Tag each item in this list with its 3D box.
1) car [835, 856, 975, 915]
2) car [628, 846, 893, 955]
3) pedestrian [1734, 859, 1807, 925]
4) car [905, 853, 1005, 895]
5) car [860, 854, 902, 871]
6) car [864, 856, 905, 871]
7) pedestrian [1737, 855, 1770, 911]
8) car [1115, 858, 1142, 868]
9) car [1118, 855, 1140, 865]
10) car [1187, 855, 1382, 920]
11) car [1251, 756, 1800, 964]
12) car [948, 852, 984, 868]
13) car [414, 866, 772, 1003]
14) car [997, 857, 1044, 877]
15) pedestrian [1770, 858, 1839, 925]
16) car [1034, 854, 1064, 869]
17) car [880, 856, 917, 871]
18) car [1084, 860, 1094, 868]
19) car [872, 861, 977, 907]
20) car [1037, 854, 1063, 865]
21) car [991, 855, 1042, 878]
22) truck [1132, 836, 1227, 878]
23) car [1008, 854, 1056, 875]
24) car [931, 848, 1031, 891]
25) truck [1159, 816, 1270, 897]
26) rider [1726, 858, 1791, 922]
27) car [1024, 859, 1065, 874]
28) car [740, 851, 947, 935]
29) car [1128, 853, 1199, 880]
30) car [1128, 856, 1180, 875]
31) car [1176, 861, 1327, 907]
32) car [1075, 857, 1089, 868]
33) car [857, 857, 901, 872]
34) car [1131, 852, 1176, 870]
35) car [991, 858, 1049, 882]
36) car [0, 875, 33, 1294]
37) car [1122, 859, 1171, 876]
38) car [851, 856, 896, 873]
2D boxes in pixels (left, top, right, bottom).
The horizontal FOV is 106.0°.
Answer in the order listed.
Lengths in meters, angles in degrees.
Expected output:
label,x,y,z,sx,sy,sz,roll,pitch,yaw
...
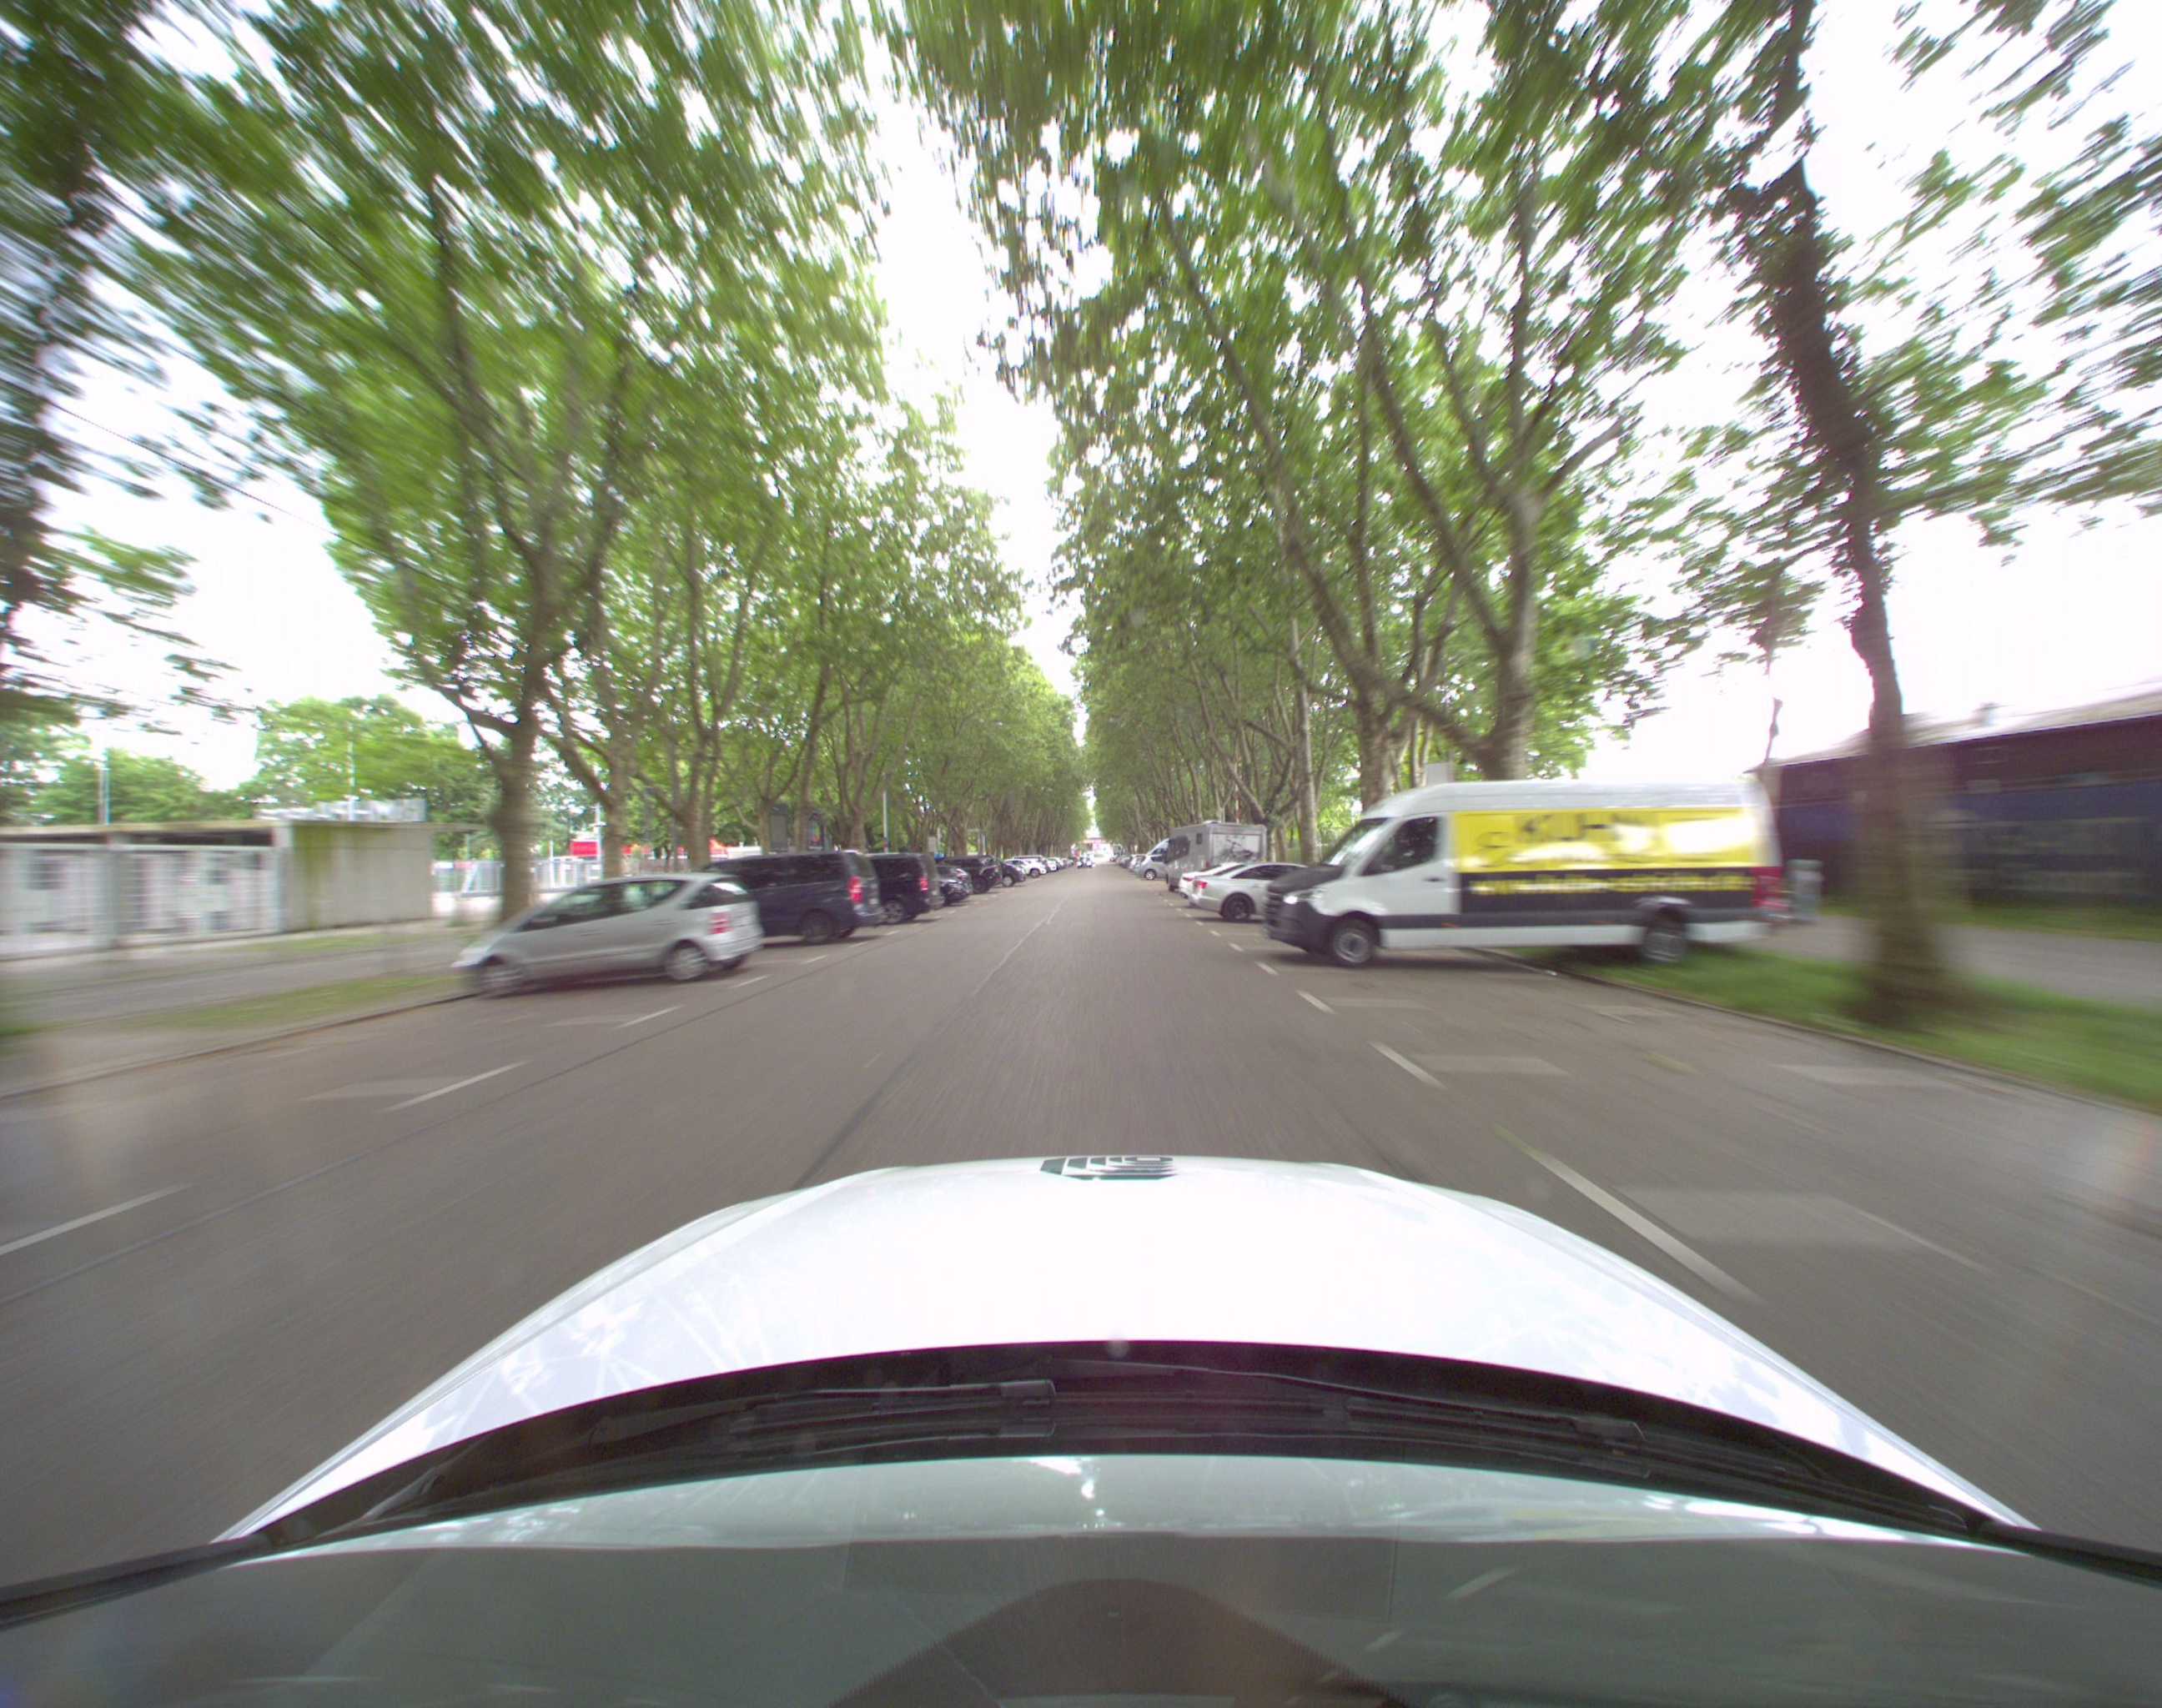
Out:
label,x,y,z,sx,sy,sz,roll,pitch,yaw
car,-6.390,1.126,29.878,4.560,1.781,1.799,-4,1,2
car,-6.645,0.931,17.365,4.752,1.924,2.015,-3,0,-4
pedestrian,11.485,0.623,13.589,0.637,1.059,0.676,-1,-1,2
car,-6.057,0.987,39.628,4.648,1.820,1.801,-2,-2,-7
car,-31.376,1.356,127.719,5.981,2.527,2.000,-1,-1,0
car,-31.339,1.518,130.019,5.981,2.240,2.000,-1,-1,0
pedestrian,12.668,0.531,15.346,0.421,1.035,0.392,0,-1,-39
car,7.540,1.422,129.874,4.156,1.596,1.853,-1,0,-3
car,8.028,1.002,136.105,3.636,1.667,1.518,-1,-1,-3
car,4.765,0.774,19.559,4.339,1.445,1.614,-1,0,4
car,6.129,0.100,11.979,6.853,2.695,2.129,-1,-1,2
car,-19.659,1.053,139.587,5.764,2.597,2.001,-1,-1,1
car,-7.014,1.110,12.074,4.096,1.568,1.756,-4,0,-4
car,-5.824,1.254,79.009,4.327,1.667,1.999,-4,0,-1
pedestrian,12.164,0.622,13.708,0.589,1.048,0.589,-4,0,4
car,-4.163,0.987,105.771,3.817,1.627,1.951,-3,0,-2
car,-31.233,1.580,139.454,5.981,2.527,2.000,-1,-1,0
car,1.476,1.895,152.839,1.683,1.471,3.838,-3,0,0
car,-6.186,1.165,32.326,3.900,1.494,1.747,-4,-1,-12
car,-4.650,0.859,123.039,3.817,1.430,1.693,-3,0,-2
car,-5.765,1.129,73.405,4.327,1.667,1.999,-4,0,-1
truck,6.657,0.230,55.622,6.266,2.715,2.100,-1,-1,4
car,-5.298,1.139,88.514,4.877,2.019,1.919,-3,-1,0
car,-5.736,0.867,47.110,5.419,2.128,1.939,-4,0,-1
truck,5.228,0.112,33.320,2.456,2.938,7.519,-1,0,-7
rider,11.622,0.607,13.986,0.589,1.048,0.589,-4,0,4
car,-4.174,1.427,93.520,4.427,1.452,1.777,-4,-1,5
car,-6.367,1.027,22.307,4.887,1.924,2.209,-3,0,2
car,5.107,0.749,50.889,4.321,1.618,1.805,0,0,4
car,5.912,0.902,65.995,4.102,1.429,1.704,1,-1,3
car,5.139,0.909,24.934,4.304,1.302,1.700,-1,0,1
car,0.098,1.163,108.932,1.650,1.364,4.108,-4,0,-2
car,-30.336,1.584,122.284,5.981,2.252,2.000,-1,-1,0
car,7.365,0.749,83.189,4.371,1.755,1.800,-1,0,-1
car,-4.862,1.288,65.444,4.367,1.597,1.999,-4,0,-1
car,-6.499,0.969,2.486,4.497,1.618,1.759,-2,0,3
car,6.111,1.231,76.277,4.488,1.526,1.702,-1,0,-1
car,-30.417,1.533,119.542,5.981,2.252,2.000,-1,-1,0
